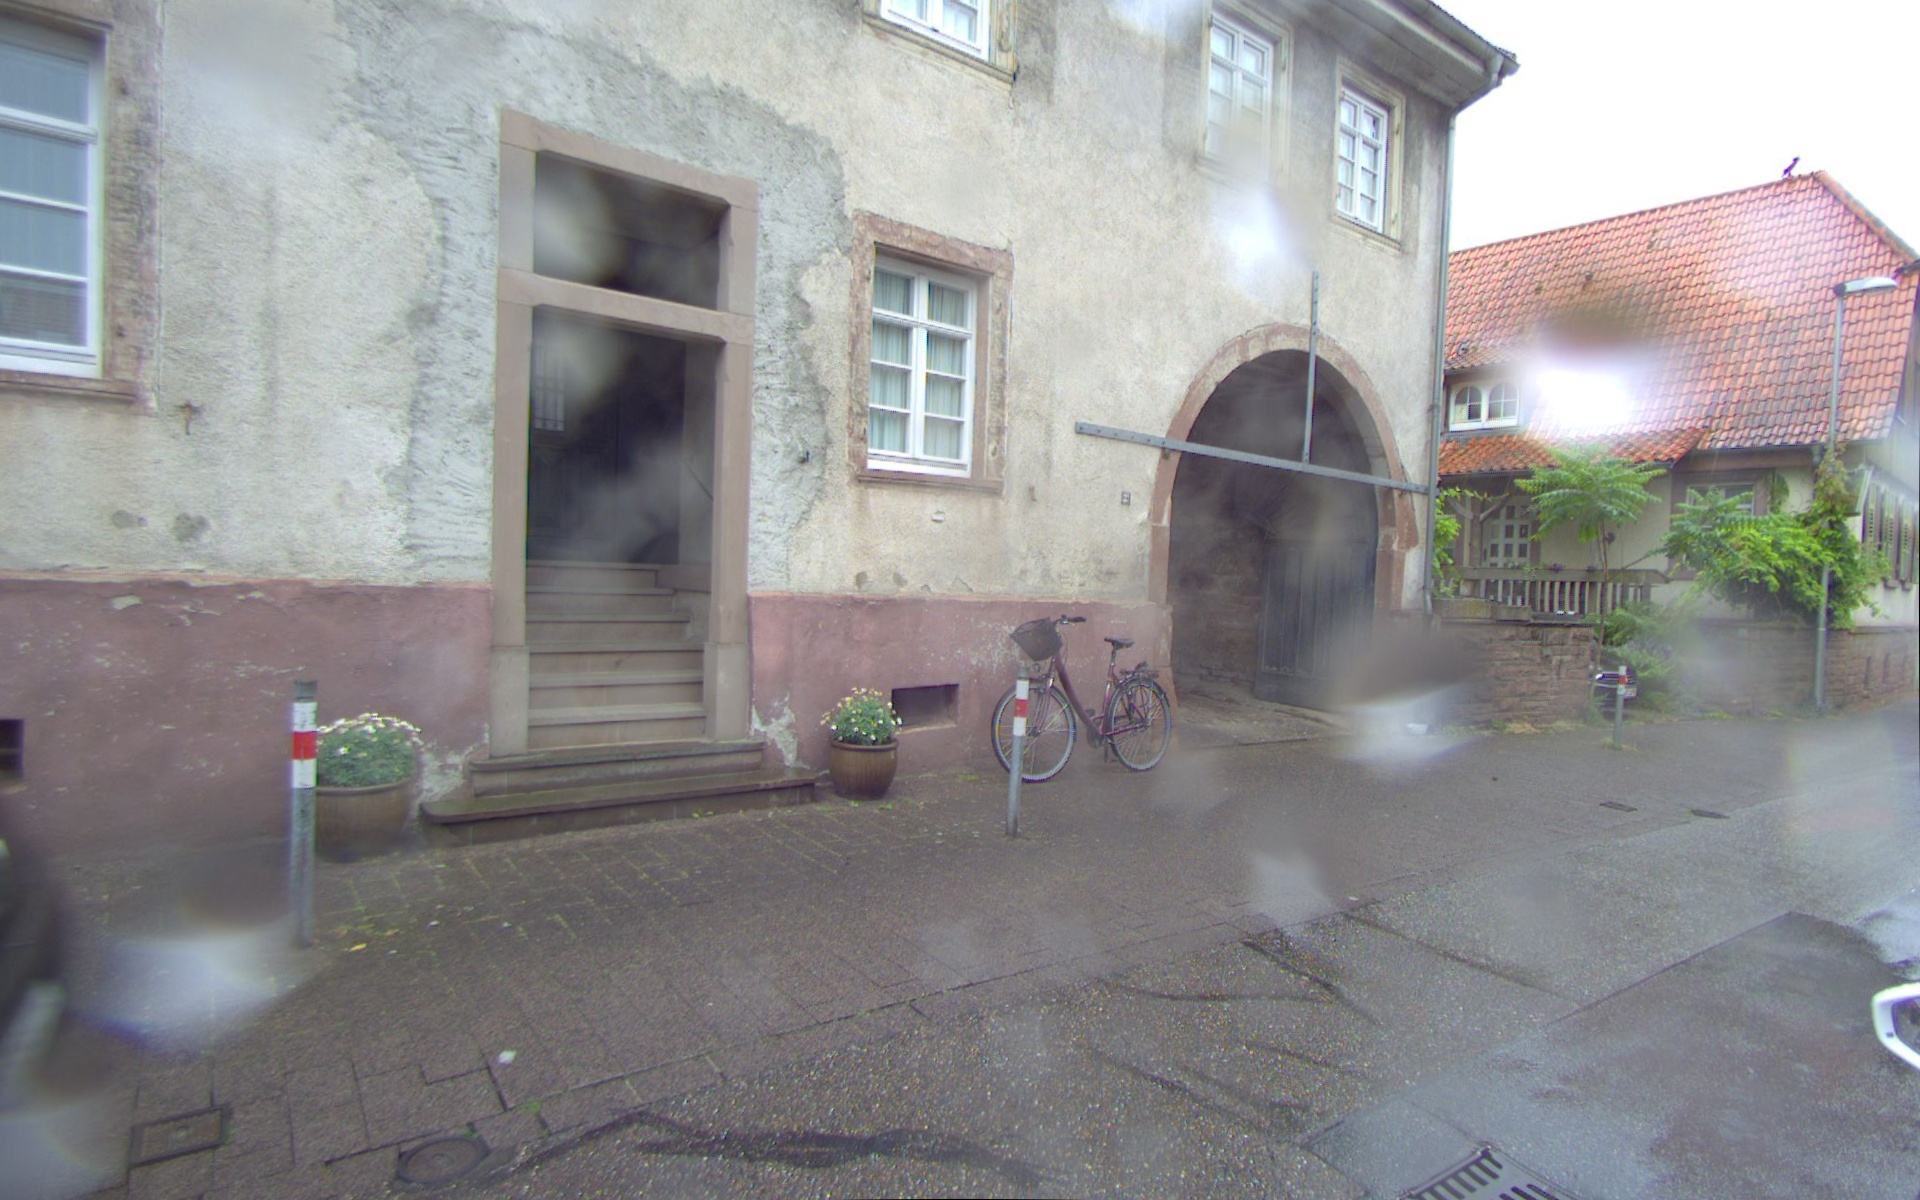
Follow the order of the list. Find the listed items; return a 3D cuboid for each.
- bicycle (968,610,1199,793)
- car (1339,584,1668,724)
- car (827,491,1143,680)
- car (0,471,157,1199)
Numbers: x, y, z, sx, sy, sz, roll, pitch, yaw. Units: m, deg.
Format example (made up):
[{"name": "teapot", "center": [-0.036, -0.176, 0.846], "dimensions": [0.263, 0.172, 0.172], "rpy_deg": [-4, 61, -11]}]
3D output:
[{"name": "bicycle", "center": [0.955, 0.691, 7.445], "dimensions": [1.858, 1.194, 0.478], "rpy_deg": [1, 4, -38]}, {"name": "car", "center": [7.983, 0.707, 15.155], "dimensions": [1.715, 1.444, 3.967], "rpy_deg": [2, 5, -30]}, {"name": "car", "center": [0.154, -0.300, 13.519], "dimensions": [1.869, 1.957, 4.194], "rpy_deg": [6, 3, -37]}, {"name": "car", "center": [-3.025, 0.547, 0.738], "dimensions": [3.651, 1.533, 1.594], "rpy_deg": [2, 1, -35]}]
